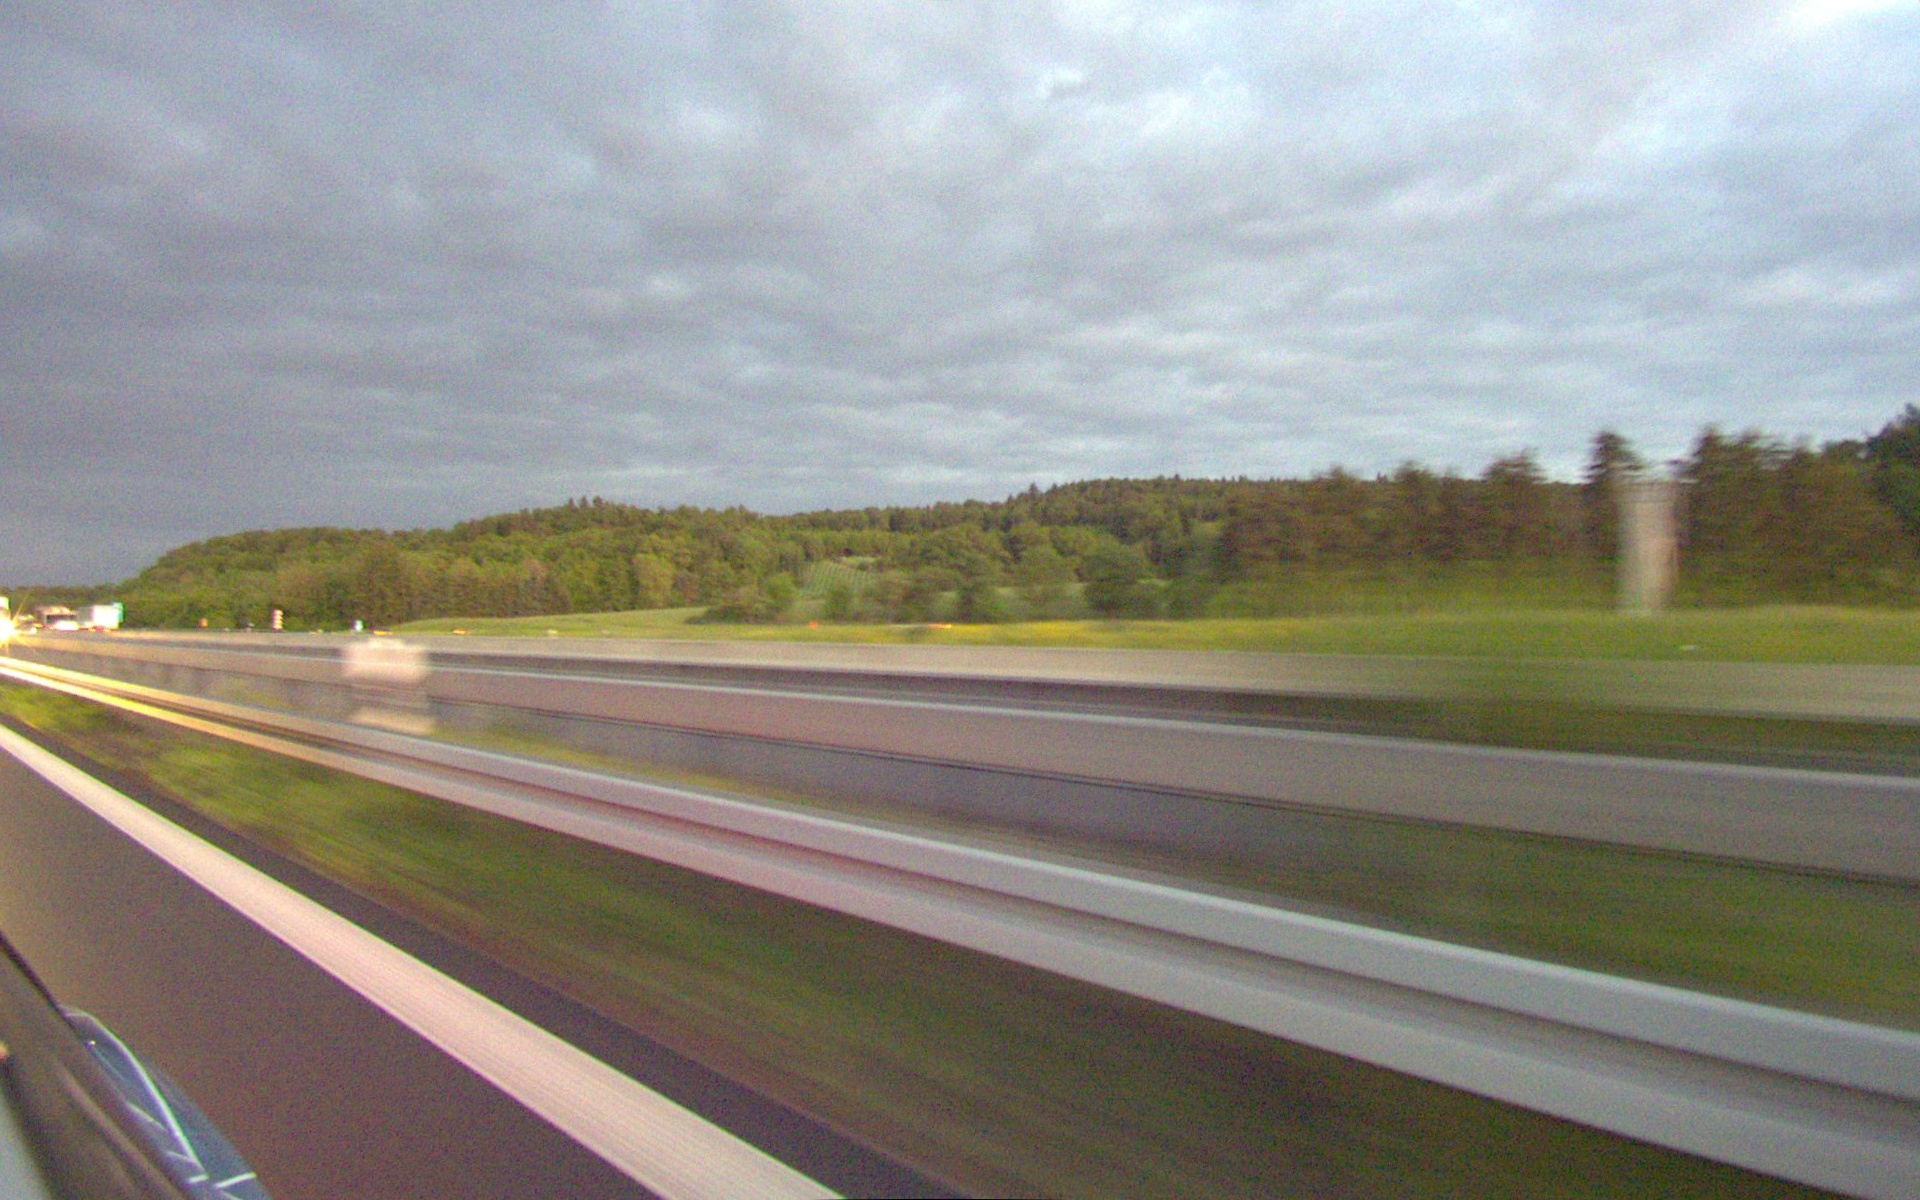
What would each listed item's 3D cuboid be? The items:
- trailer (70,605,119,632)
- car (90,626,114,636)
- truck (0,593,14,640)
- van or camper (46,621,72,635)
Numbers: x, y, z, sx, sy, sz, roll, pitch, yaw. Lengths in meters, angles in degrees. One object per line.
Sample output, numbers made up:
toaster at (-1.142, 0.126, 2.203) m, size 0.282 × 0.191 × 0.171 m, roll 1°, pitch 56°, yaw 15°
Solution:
trailer at (-126.014, 2.744, 147.309) m, size 13.878 × 3.794 × 3.292 m, roll -1°, pitch -3°, yaw 41°
car at (-109.052, 3.930, 128.585) m, size 4.211 × 1.259 × 1.734 m, roll -1°, pitch -3°, yaw 41°
truck at (-93.405, 1.582, 96.882) m, size 9.886 × 4.334 × 3.006 m, roll -1°, pitch -3°, yaw 41°
van or camper at (-126.531, 3.897, 142.107) m, size 5.535 × 1.921 × 1.871 m, roll -1°, pitch -2°, yaw 40°
